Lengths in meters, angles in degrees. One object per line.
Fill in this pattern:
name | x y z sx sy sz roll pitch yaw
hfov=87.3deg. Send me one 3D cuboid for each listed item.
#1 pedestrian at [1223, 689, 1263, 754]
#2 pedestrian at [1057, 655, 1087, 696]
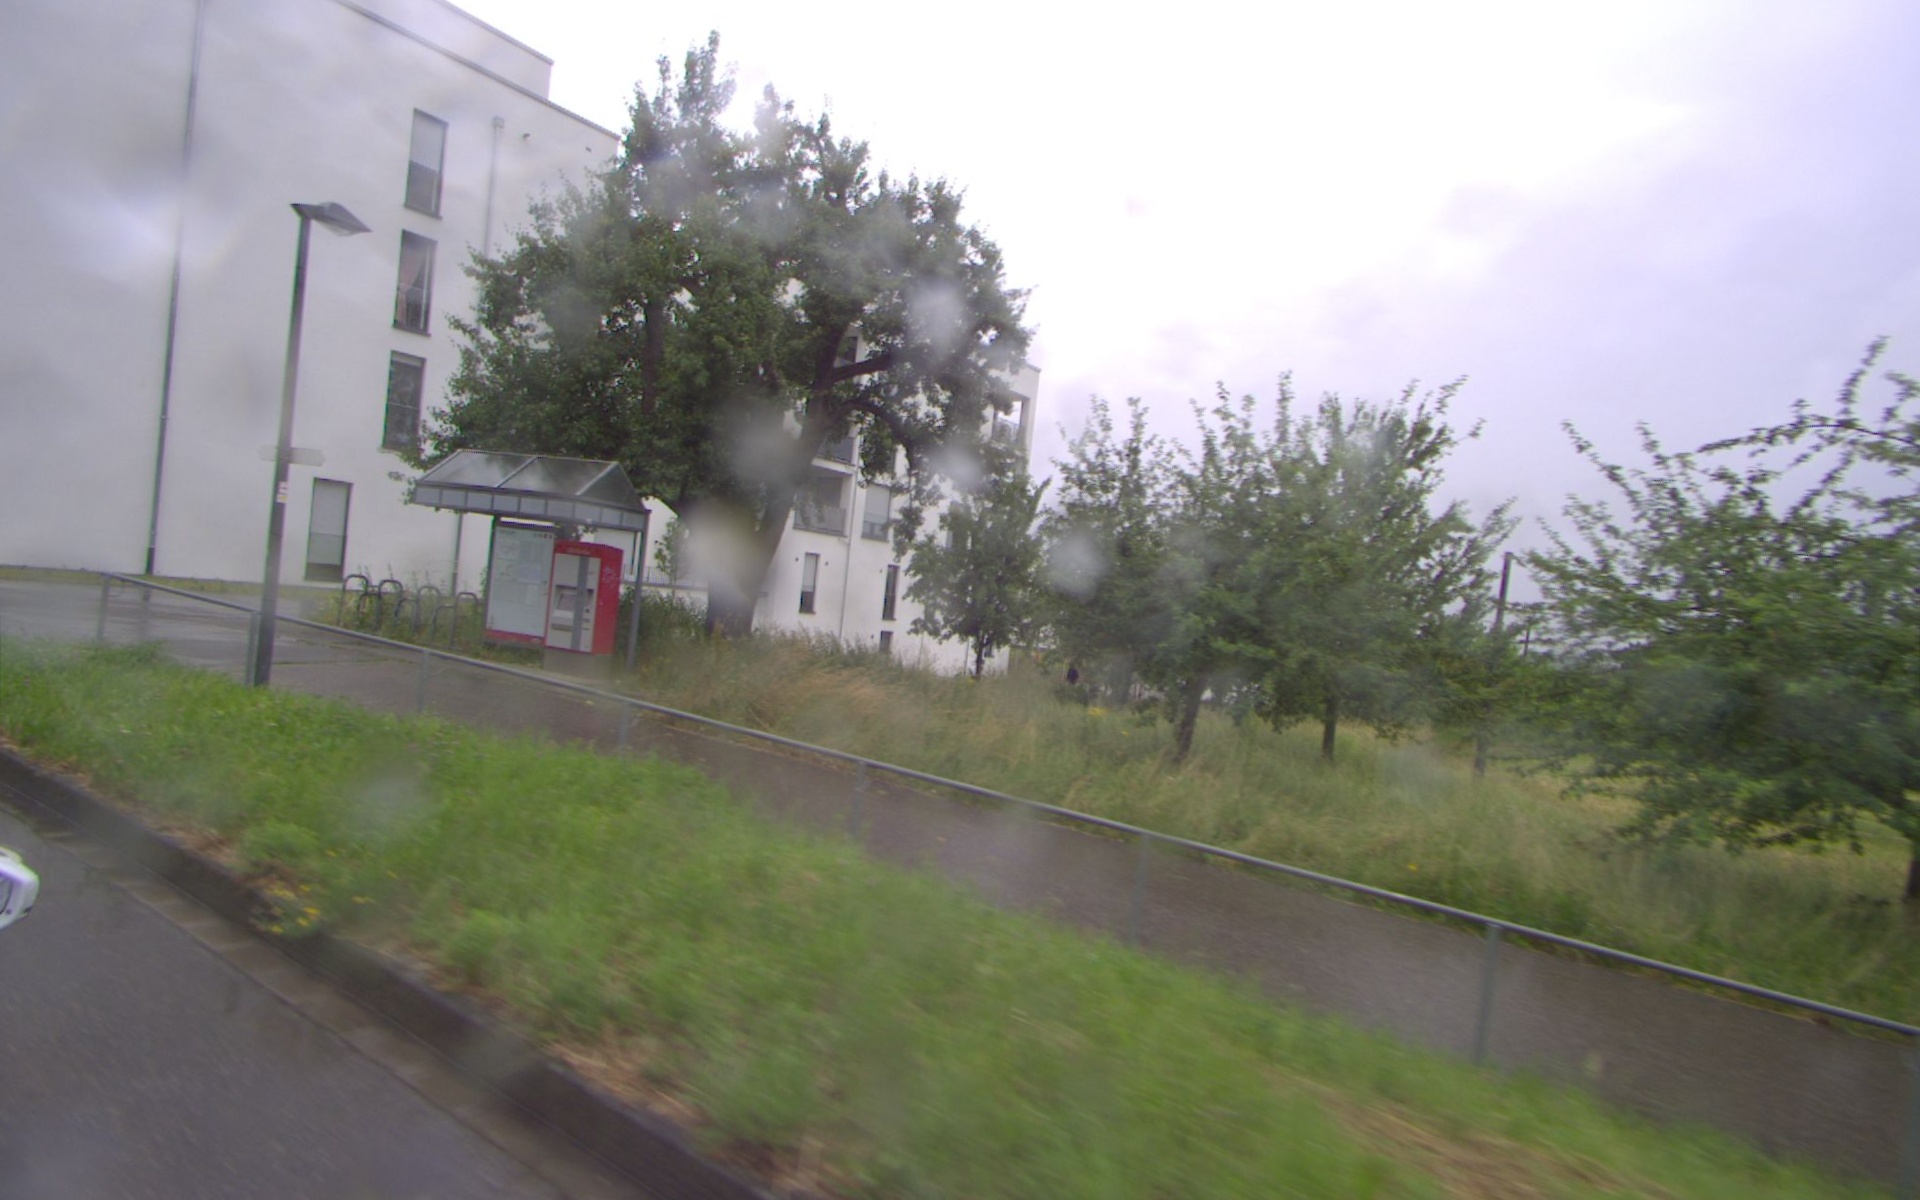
pedestrian | 9.553 4.086 33.941 0.763 2.039 0.769 8 1 -11
pedestrian | 5.263 3.555 47.315 0.879 1.806 0.887 9 1 34
